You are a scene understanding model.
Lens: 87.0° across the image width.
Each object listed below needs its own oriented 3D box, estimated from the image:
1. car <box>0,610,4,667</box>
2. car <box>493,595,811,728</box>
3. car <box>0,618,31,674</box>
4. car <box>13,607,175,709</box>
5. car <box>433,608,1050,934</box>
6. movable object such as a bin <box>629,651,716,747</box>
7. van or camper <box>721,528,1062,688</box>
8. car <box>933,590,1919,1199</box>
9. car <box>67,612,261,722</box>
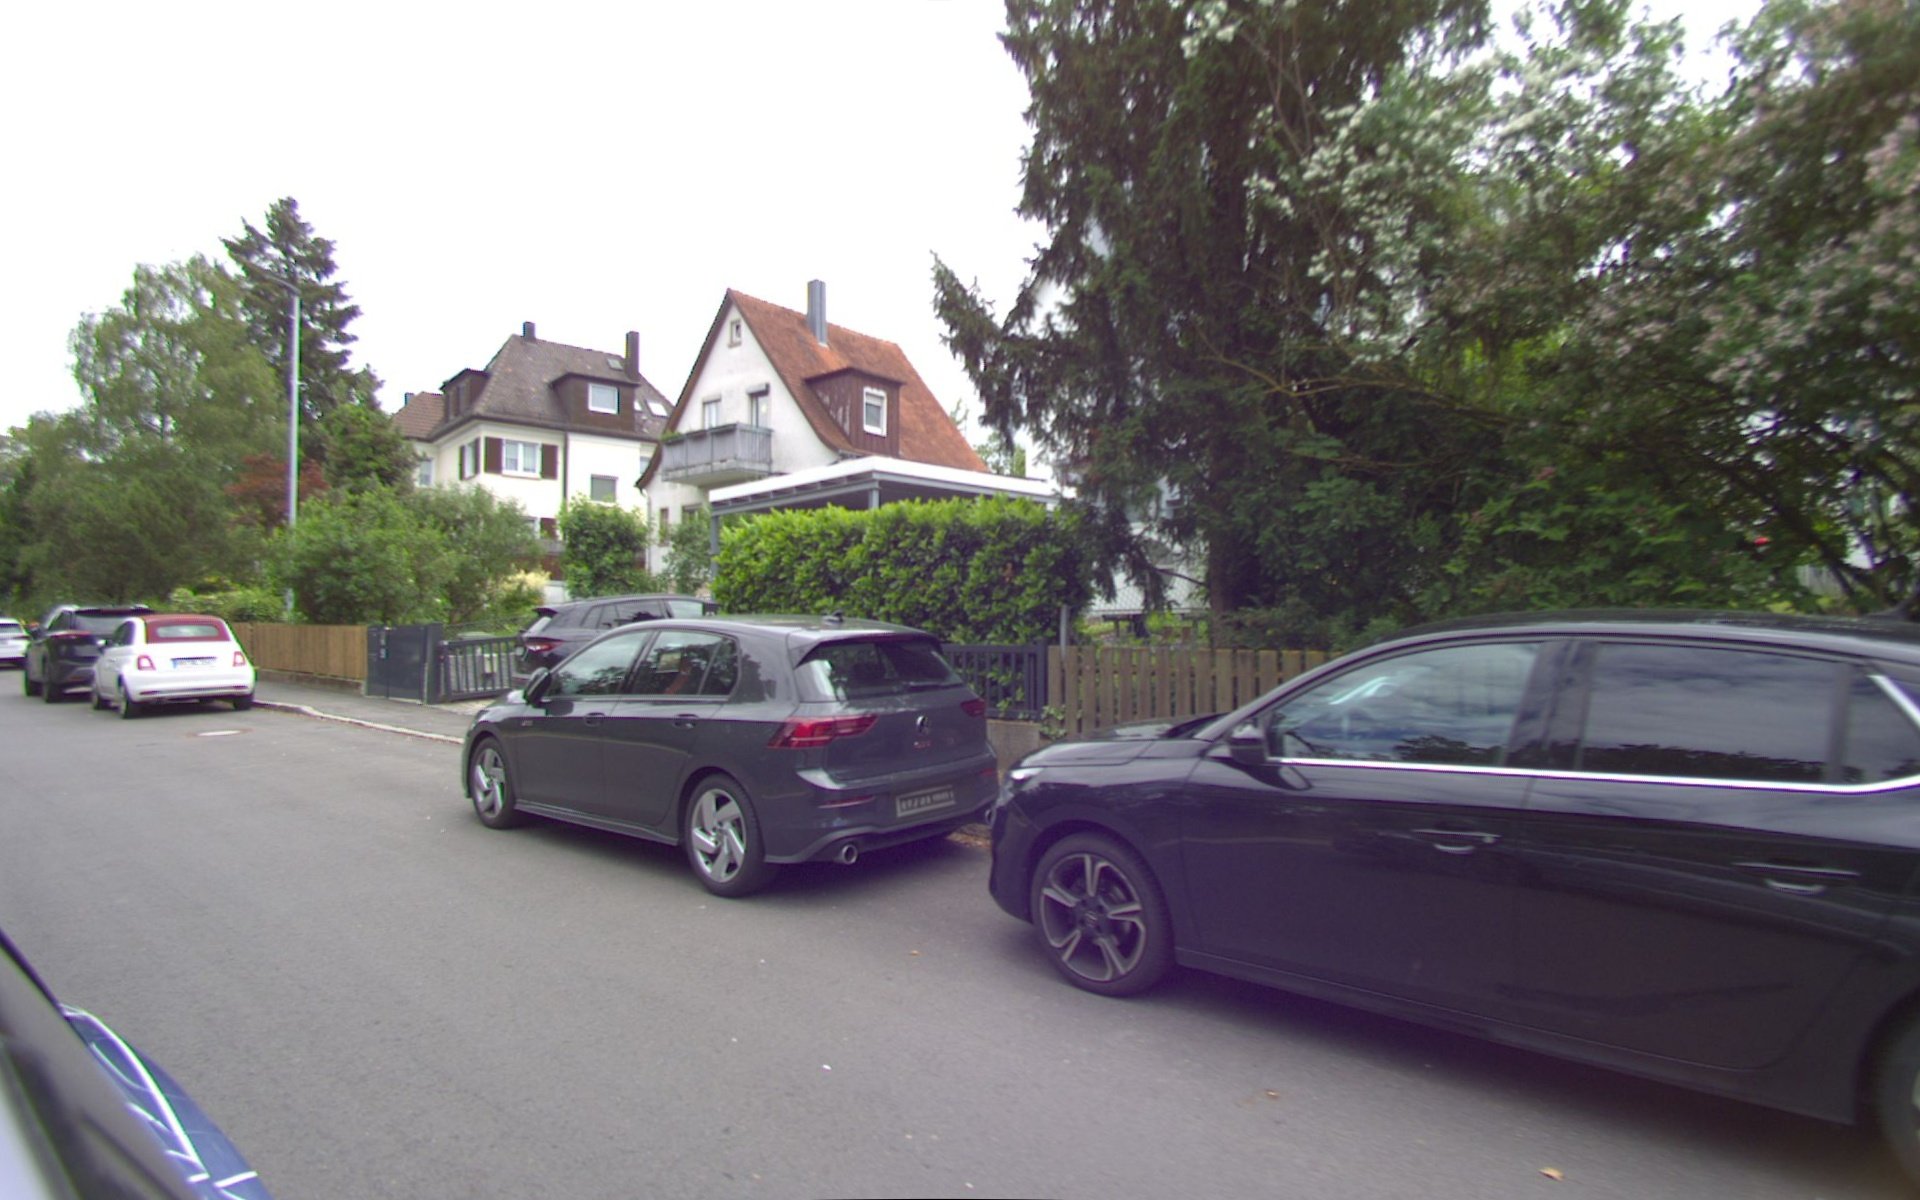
[{"bbox_3d":[-32.572,1.256,32.960,4.295,1.813,1.689,-1,-1,41],"label":"car"},{"bbox_3d":[-4.343,0.773,14.464,3.934,1.559,1.846,-2,0,-36],"label":"car"},{"bbox_3d":[-28.072,1.288,29.035,4.553,1.523,1.688,-1,-1,42],"label":"car"},{"bbox_3d":[-16.256,1.003,18.929,4.390,1.677,1.772,-1,-1,42],"label":"car"},{"bbox_3d":[-1.612,0.797,6.482,4.146,1.427,1.689,-1,-1,40],"label":"car"},{"bbox_3d":[-3.013,1.013,10.601,0.654,0.929,0.623,-1,-1,41],"label":"movable object such as a bin"},{"bbox_3d":[-1.141,0.061,19.985,6.597,2.671,2.327,-2,0,-41],"label":"van or camper"},{"bbox_3d":[2.011,0.703,3.409,4.129,1.427,1.689,-1,-1,40],"label":"car"},{"bbox_3d":[-12.768,0.984,16.150,3.943,1.523,1.689,-1,-1,40],"label":"car"}]
